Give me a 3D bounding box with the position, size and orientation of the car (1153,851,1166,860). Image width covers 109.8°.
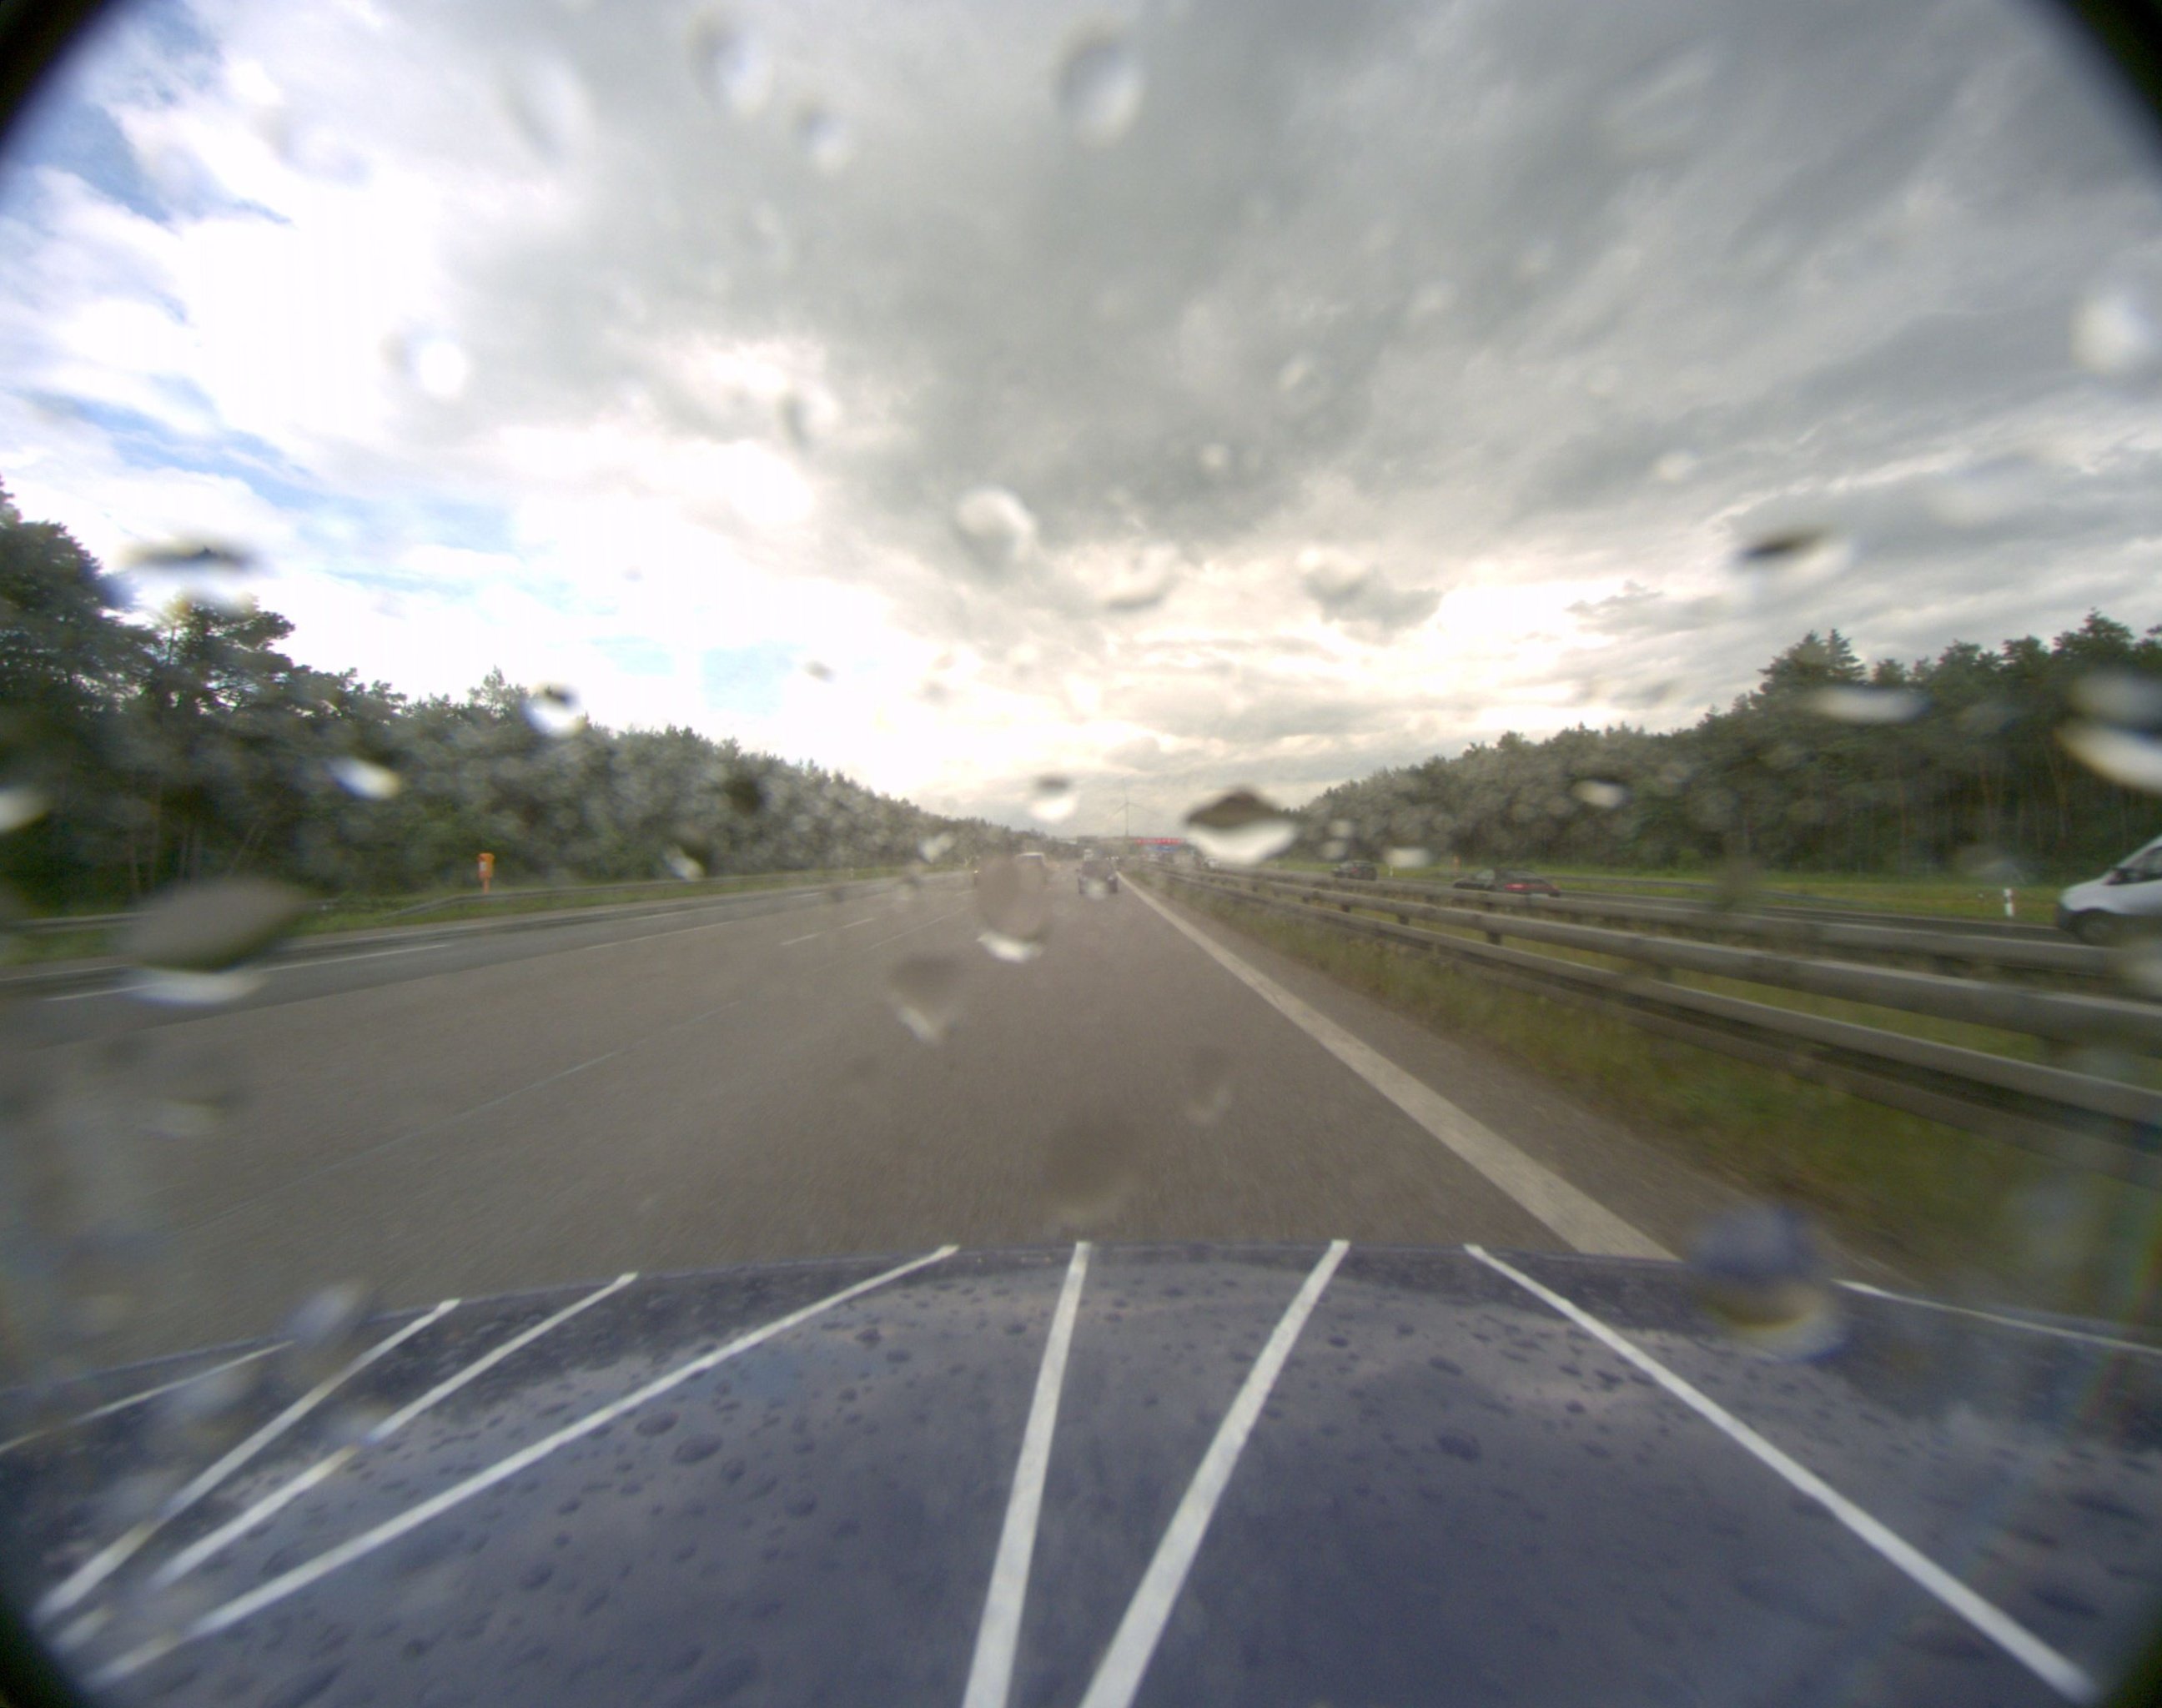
[{"bbox_3d":[13.731,0.265,133.016,1.864,1.579,4.490,0,0,1],"label":"car"}]

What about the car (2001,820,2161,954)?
[{"bbox_3d":[21.109,0.631,13.280,2.103,2.496,6.584,1,0,1],"label":"car"}]

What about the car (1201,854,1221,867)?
[{"bbox_3d":[15.036,0.720,87.874,1.702,1.479,4.000,0,0,1],"label":"car"}]

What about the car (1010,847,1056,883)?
[{"bbox_3d":[-2.707,0.599,44.160,1.968,1.890,4.883,-1,0,4],"label":"car"}]

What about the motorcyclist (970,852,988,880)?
[{"bbox_3d":[-6.087,0.705,45.348,0.893,1.605,0.959,-1,1,4],"label":"motorcyclist"}]

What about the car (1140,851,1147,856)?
[{"bbox_3d":[17.551,-0.077,212.751,1.732,1.381,4.092,1,0,1],"label":"car"}]

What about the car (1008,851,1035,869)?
[{"bbox_3d":[-6.714,0.656,86.062,1.997,2.002,5.485,-2,0,6],"label":"car"}]

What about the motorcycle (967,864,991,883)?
[{"bbox_3d":[-6.069,1.156,45.273,1.002,1.025,2.174,-1,0,4],"label":"motorcycle"}]

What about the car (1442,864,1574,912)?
[{"bbox_3d":[13.677,1.041,24.680,1.702,1.317,4.667,1,0,1],"label":"car"}]

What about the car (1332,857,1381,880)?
[{"bbox_3d":[17.959,0.928,49.660,1.702,1.350,4.258,1,0,1],"label":"car"}]

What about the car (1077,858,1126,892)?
[{"bbox_3d":[0.979,0.881,33.161,1.809,1.321,4.433,0,0,6],"label":"car"}]

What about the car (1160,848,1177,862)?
[{"bbox_3d":[12.392,0.133,107.909,1.998,2.002,4.626,0,1,1],"label":"car"}]

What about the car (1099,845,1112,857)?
[{"bbox_3d":[4.423,-0.519,137.228,1.999,2.002,3.999,-3,0,0],"label":"car"}]

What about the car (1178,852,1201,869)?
[{"bbox_3d":[10.434,0.603,73.386,1.775,1.530,4.000,0,0,1],"label":"car"}]

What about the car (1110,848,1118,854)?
[{"bbox_3d":[11.076,-0.899,254.463,2.179,2.002,4.361,-2,0,0],"label":"car"}]
